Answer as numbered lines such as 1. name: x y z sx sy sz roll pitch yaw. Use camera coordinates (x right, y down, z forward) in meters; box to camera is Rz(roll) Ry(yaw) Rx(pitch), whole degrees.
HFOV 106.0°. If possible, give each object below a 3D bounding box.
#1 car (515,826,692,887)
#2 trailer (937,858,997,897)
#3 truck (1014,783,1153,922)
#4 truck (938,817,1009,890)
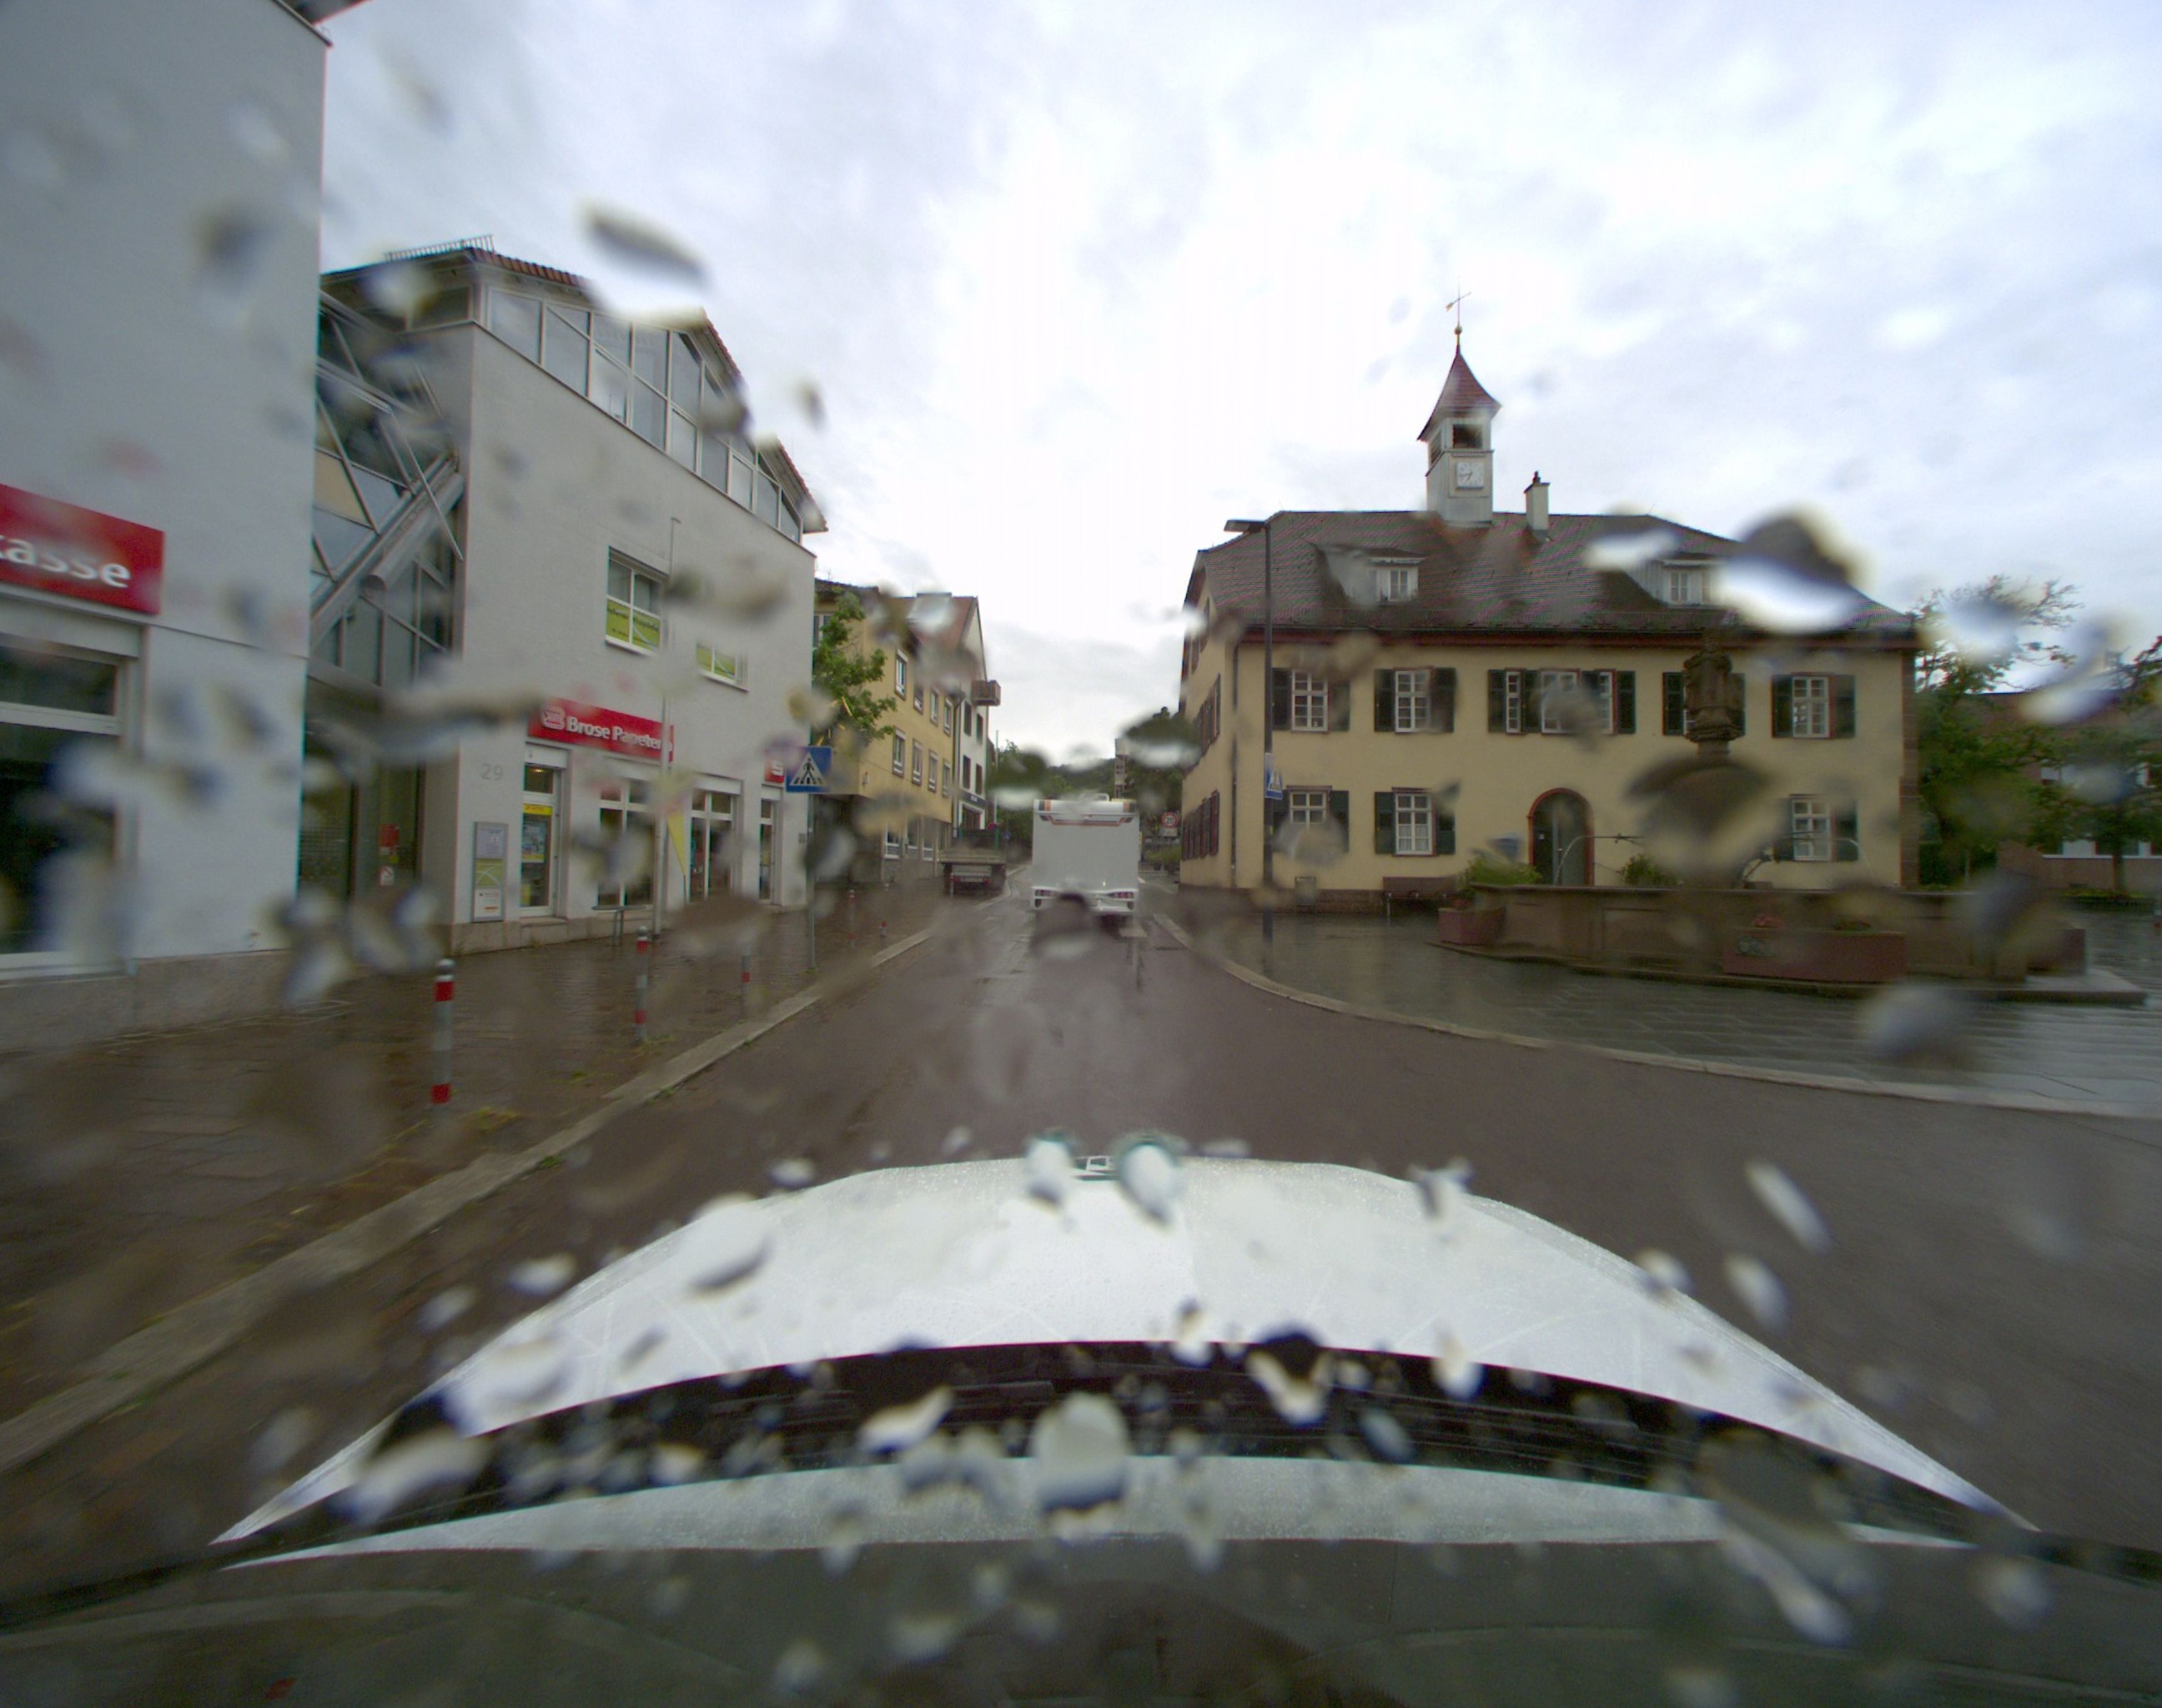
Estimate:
1. car: -13.247 0.088 22.671 4.078 1.618 1.863 -1 -1 14
2. trailer: -3.852 0.780 27.846 1.849 1.124 3.015 1 2 -5
3. truck: 0.035 -0.010 19.559 2.797 2.797 6.105 0 -1 0
4. truck: -4.153 -0.128 32.551 2.395 2.594 6.474 1 2 -4
